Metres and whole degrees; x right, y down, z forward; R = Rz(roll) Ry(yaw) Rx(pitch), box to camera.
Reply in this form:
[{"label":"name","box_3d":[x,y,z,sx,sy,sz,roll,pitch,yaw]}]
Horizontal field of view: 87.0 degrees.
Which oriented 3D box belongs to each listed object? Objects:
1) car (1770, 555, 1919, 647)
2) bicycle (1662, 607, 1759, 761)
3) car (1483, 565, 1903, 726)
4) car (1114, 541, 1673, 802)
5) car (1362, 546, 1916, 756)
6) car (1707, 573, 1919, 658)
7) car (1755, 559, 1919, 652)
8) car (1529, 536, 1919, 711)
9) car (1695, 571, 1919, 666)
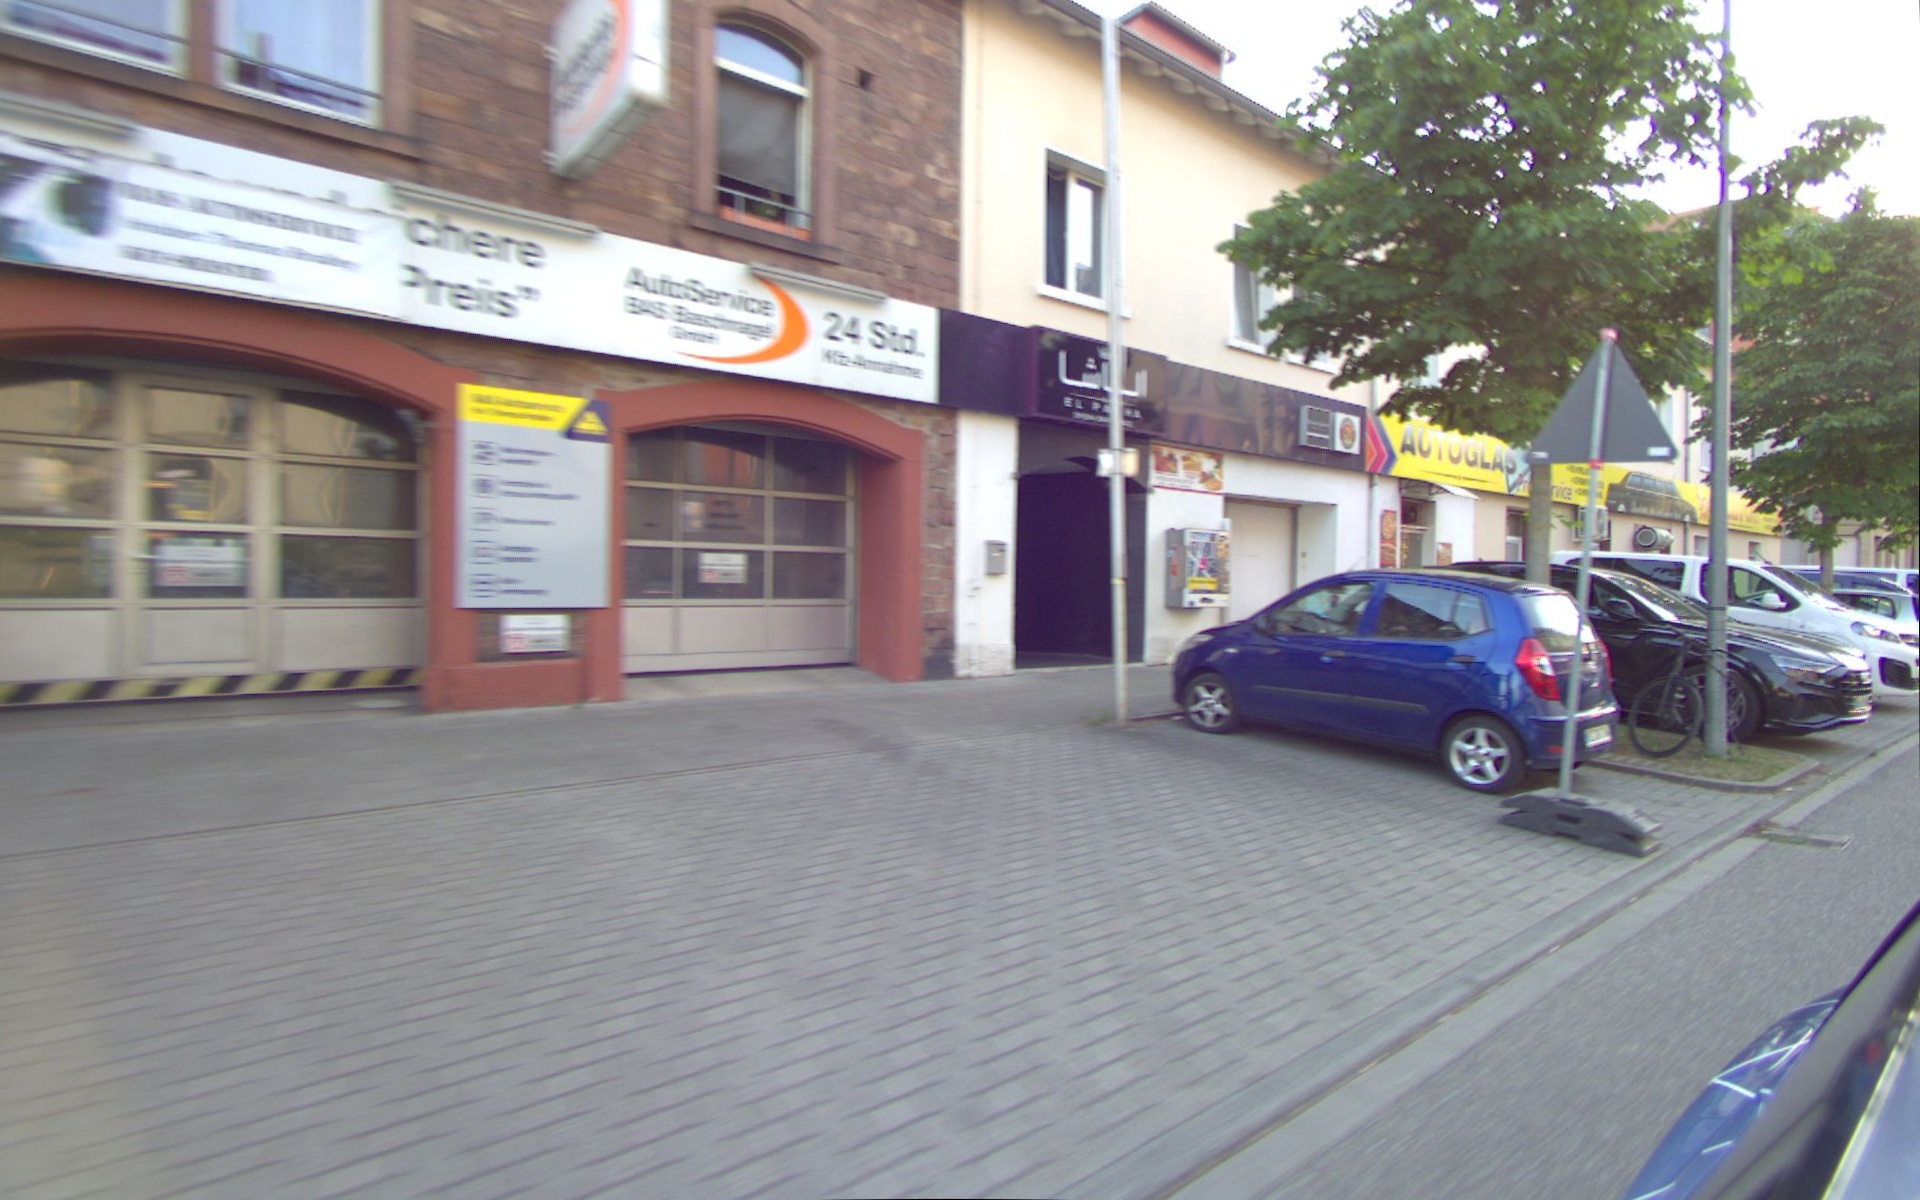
[{"label":"car","box_3d":[22.767,-0.009,24.174,2.110,2.127,4.977,-1,2,-35]},{"label":"bicycle","box_3d":[6.567,0.684,8.828,1.732,1.207,0.309,-1,1,-41]},{"label":"car","box_3d":[9.342,0.438,13.198,1.857,1.513,4.001,0,5,-37]},{"label":"car","box_3d":[3.475,0.373,8.754,1.812,1.564,3.998,0,5,-39]},{"label":"car","box_3d":[7.263,0.356,11.360,1.963,1.651,4.711,0,5,-38]},{"label":"car","box_3d":[18.520,0.294,20.806,1.964,1.514,4.734,0,3,-39]},{"label":"car","box_3d":[20.729,0.110,22.546,1.962,1.881,4.307,0,3,-36]},{"label":"car","box_3d":[11.145,0.170,14.597,1.975,1.883,4.604,0,6,-37]},{"label":"car","box_3d":[16.500,0.293,19.213,1.651,1.514,3.794,0,4,-40]}]
